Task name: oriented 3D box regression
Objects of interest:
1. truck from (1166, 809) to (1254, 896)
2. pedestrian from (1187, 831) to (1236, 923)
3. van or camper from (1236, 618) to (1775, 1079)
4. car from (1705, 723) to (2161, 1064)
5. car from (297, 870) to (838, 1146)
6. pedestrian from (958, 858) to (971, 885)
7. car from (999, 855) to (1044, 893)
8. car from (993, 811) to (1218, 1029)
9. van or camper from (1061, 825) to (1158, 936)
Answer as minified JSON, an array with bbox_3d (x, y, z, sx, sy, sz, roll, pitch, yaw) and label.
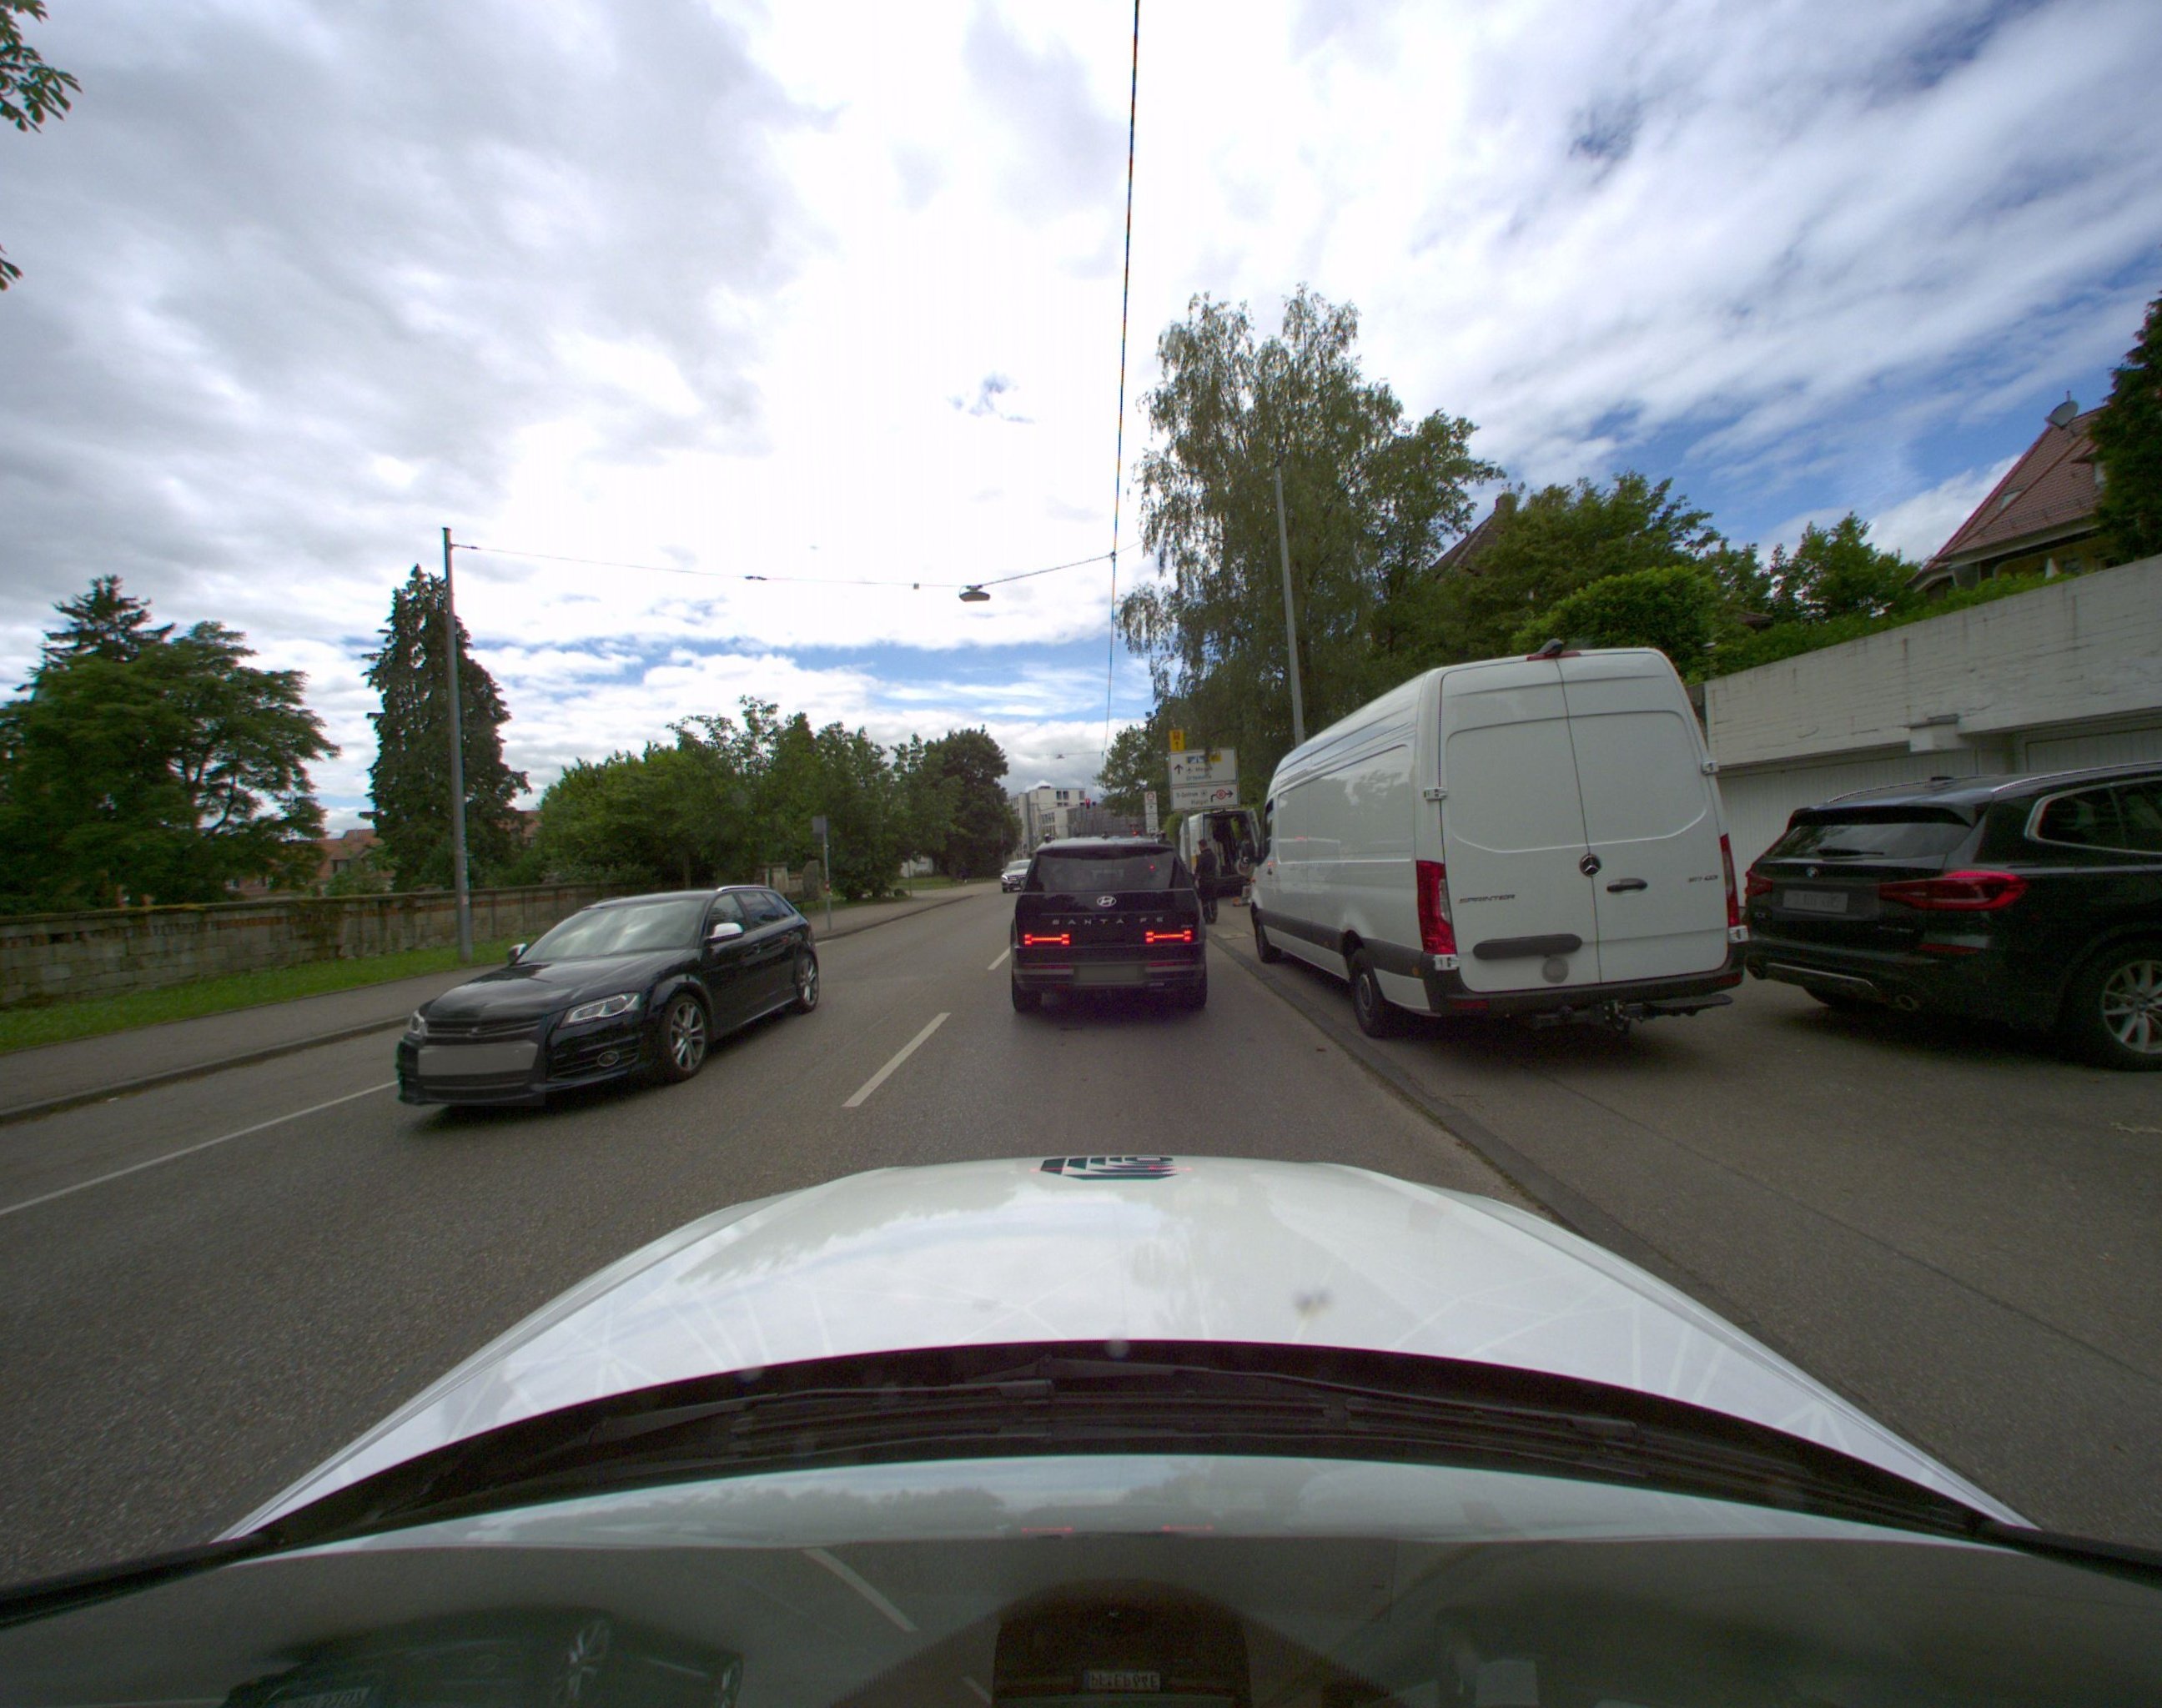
[{"bbox_3d":[4.310,-0.019,28.087,1.937,2.561,5.213,-5,-1,-1],"label":"truck"},{"bbox_3d":[2.683,0.461,16.773,0.756,1.797,0.871,-2,0,-4],"label":"pedestrian"},{"bbox_3d":[3.122,-0.029,8.083,1.986,2.620,6.543,-3,0,2],"label":"van or camper"},{"bbox_3d":[6.851,0.124,5.113,4.398,1.750,1.739,-3,0,3],"label":"car"},{"bbox_3d":[-3.771,0.985,7.050,1.852,1.453,4.112,-6,0,2],"label":"car"},{"bbox_3d":[-7.704,1.172,53.790,0.737,1.715,0.791,-3,0,-5],"label":"pedestrian"},{"bbox_3d":[-2.950,0.943,40.951,1.779,1.653,4.120,-6,0,0],"label":"car"},{"bbox_3d":[0.269,0.569,8.998,1.883,1.819,4.002,-2,0,2],"label":"car"},{"bbox_3d":[0.605,0.514,17.497,1.748,2.013,4.002,-3,0,2],"label":"van or camper"}]
